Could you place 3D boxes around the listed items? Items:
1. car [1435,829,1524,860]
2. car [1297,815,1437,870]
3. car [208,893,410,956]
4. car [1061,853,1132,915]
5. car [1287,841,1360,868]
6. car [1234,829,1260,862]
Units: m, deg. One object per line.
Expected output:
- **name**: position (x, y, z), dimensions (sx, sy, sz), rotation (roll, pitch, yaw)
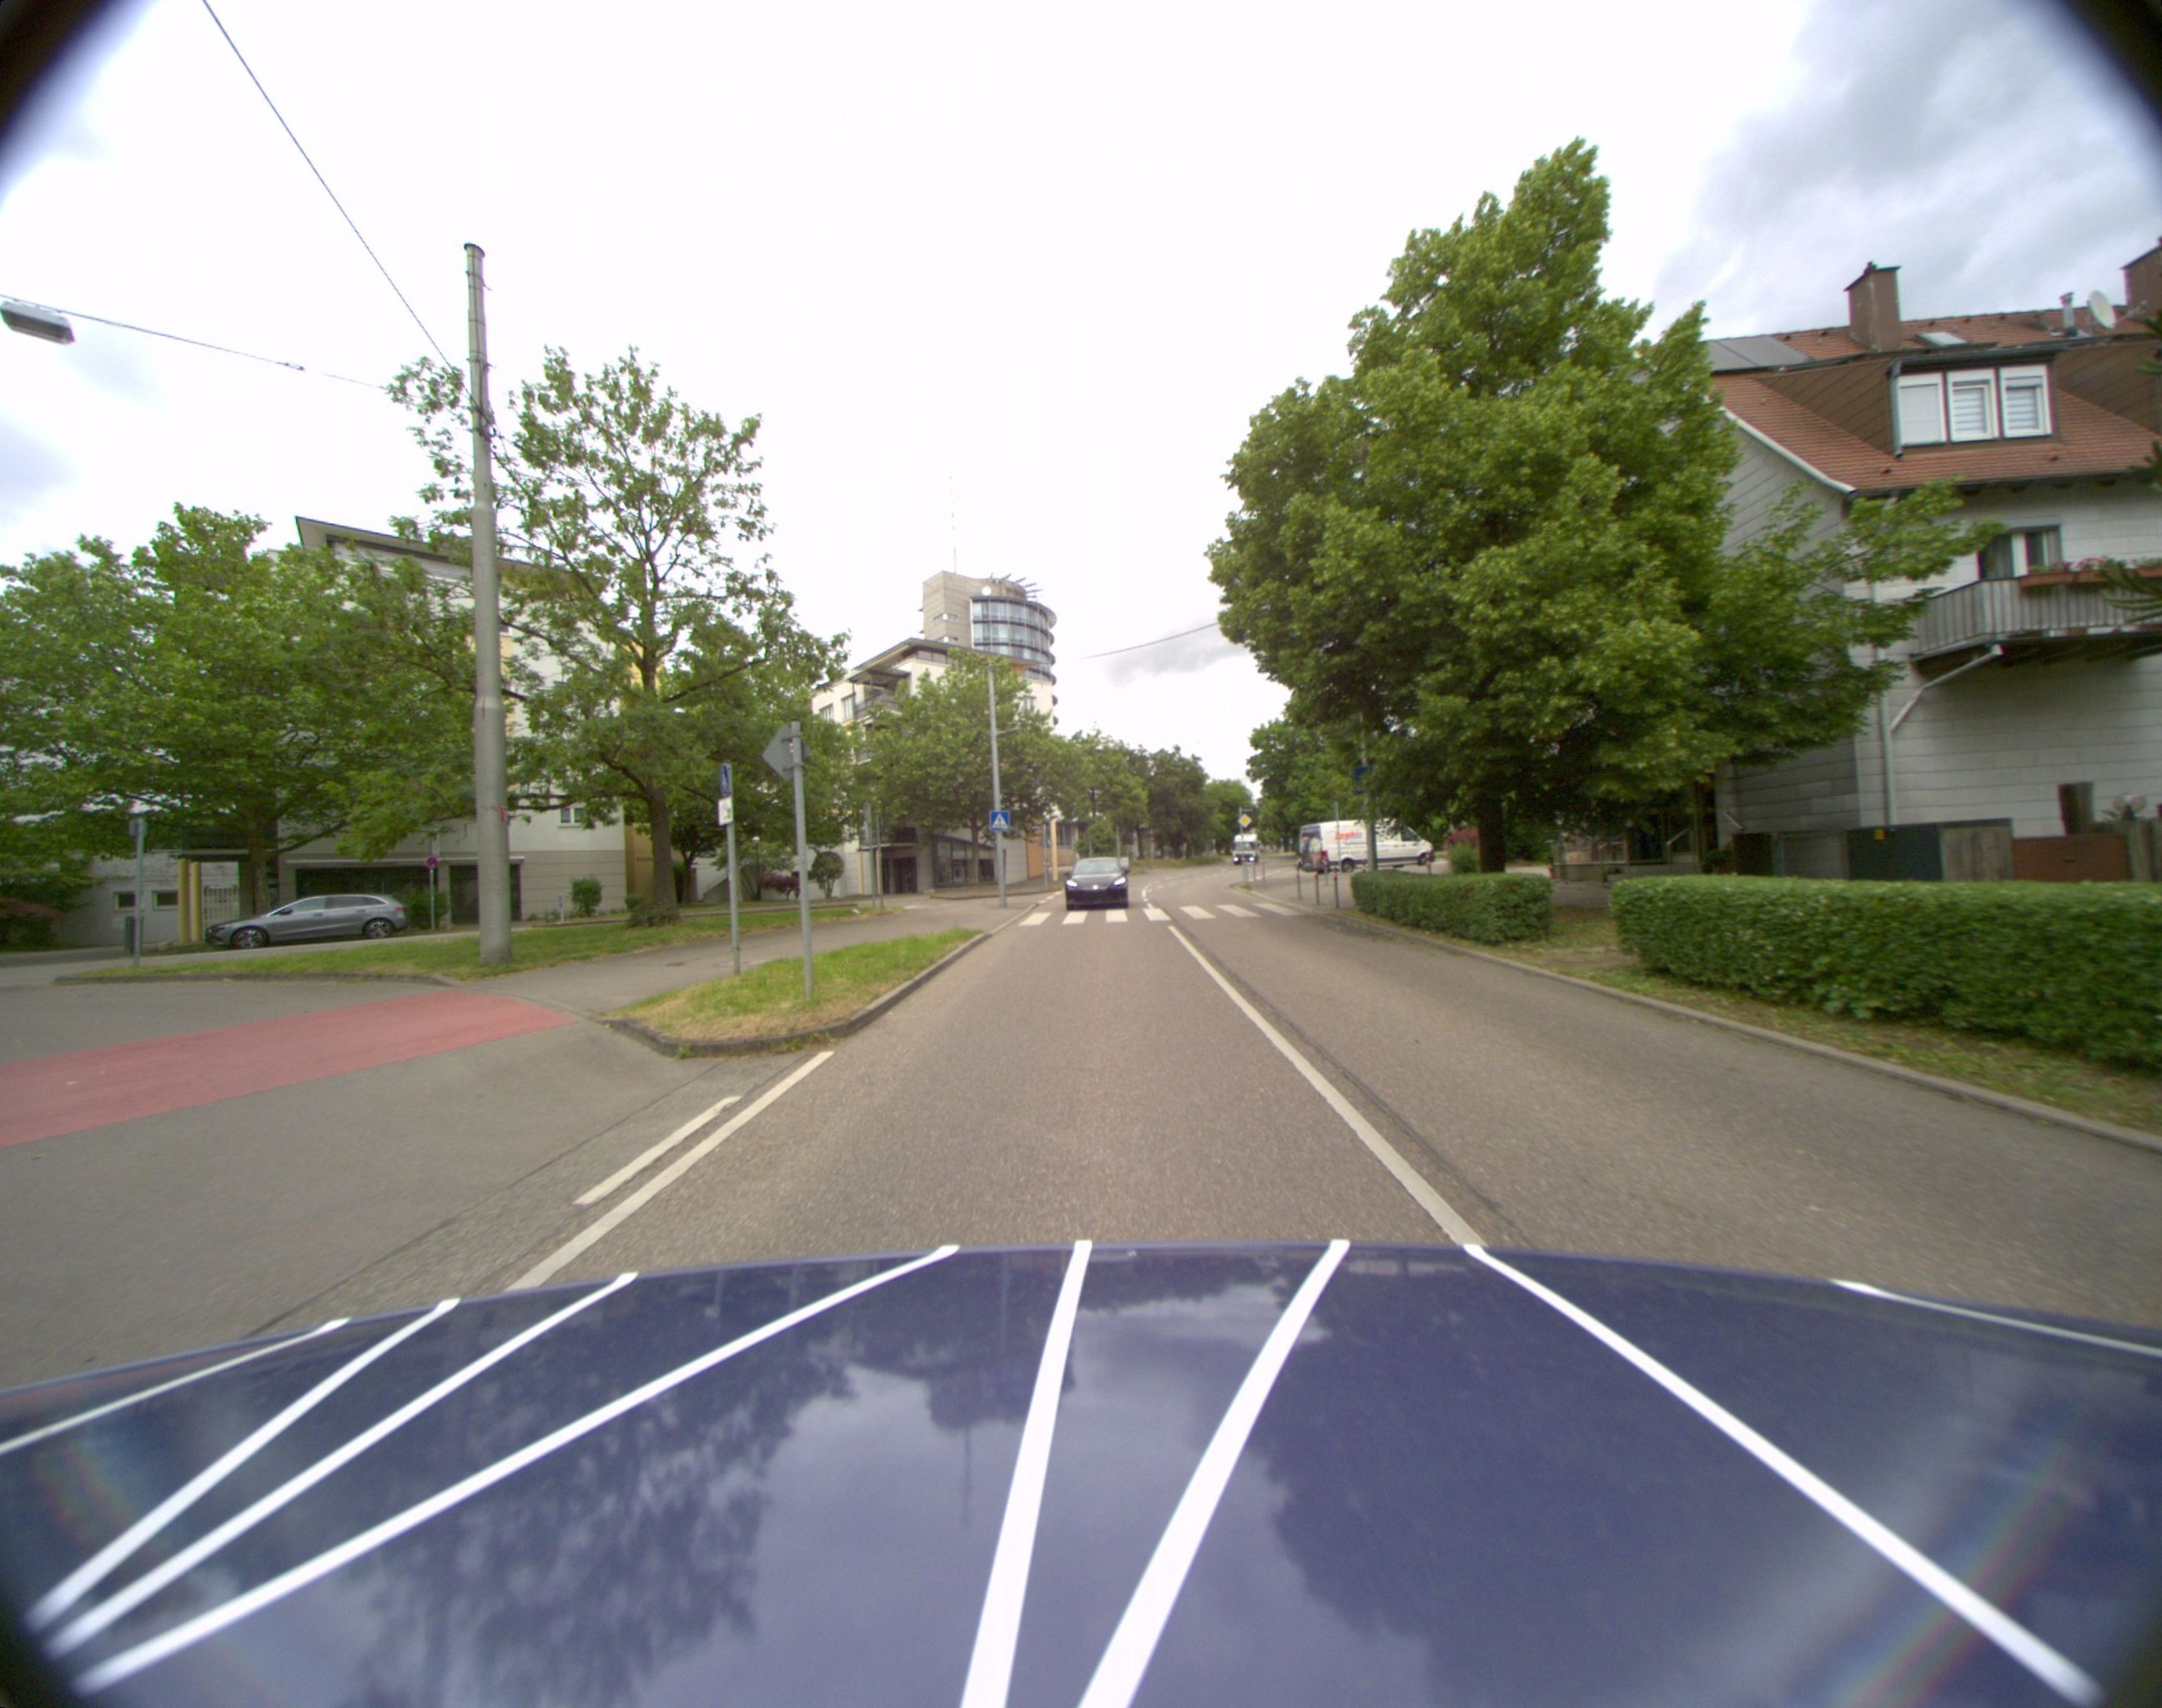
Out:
- **car**: position (21.993, -0.528, 42.016), dimensions (3.999, 1.502, 1.799), rotation (-3, 1, -5)
- **car**: position (13.729, -0.558, 36.454), dimensions (6.375, 2.334, 1.974), rotation (-3, 0, -18)
- **car**: position (-23.913, 2.117, 23.764), dimensions (4.251, 1.501, 1.795), rotation (-3, 0, -44)
- **car**: position (0.494, 0.790, 22.233), dimensions (1.798, 1.552, 4.471), rotation (-2, 0, 2)
- **car**: position (15.392, 0.006, 48.312), dimensions (3.999, 1.502, 1.799), rotation (-3, 1, -5)
- **car**: position (17.727, -0.983, 80.802), dimensions (2.433, 3.256, 7.798), rotation (-2, 1, 14)
